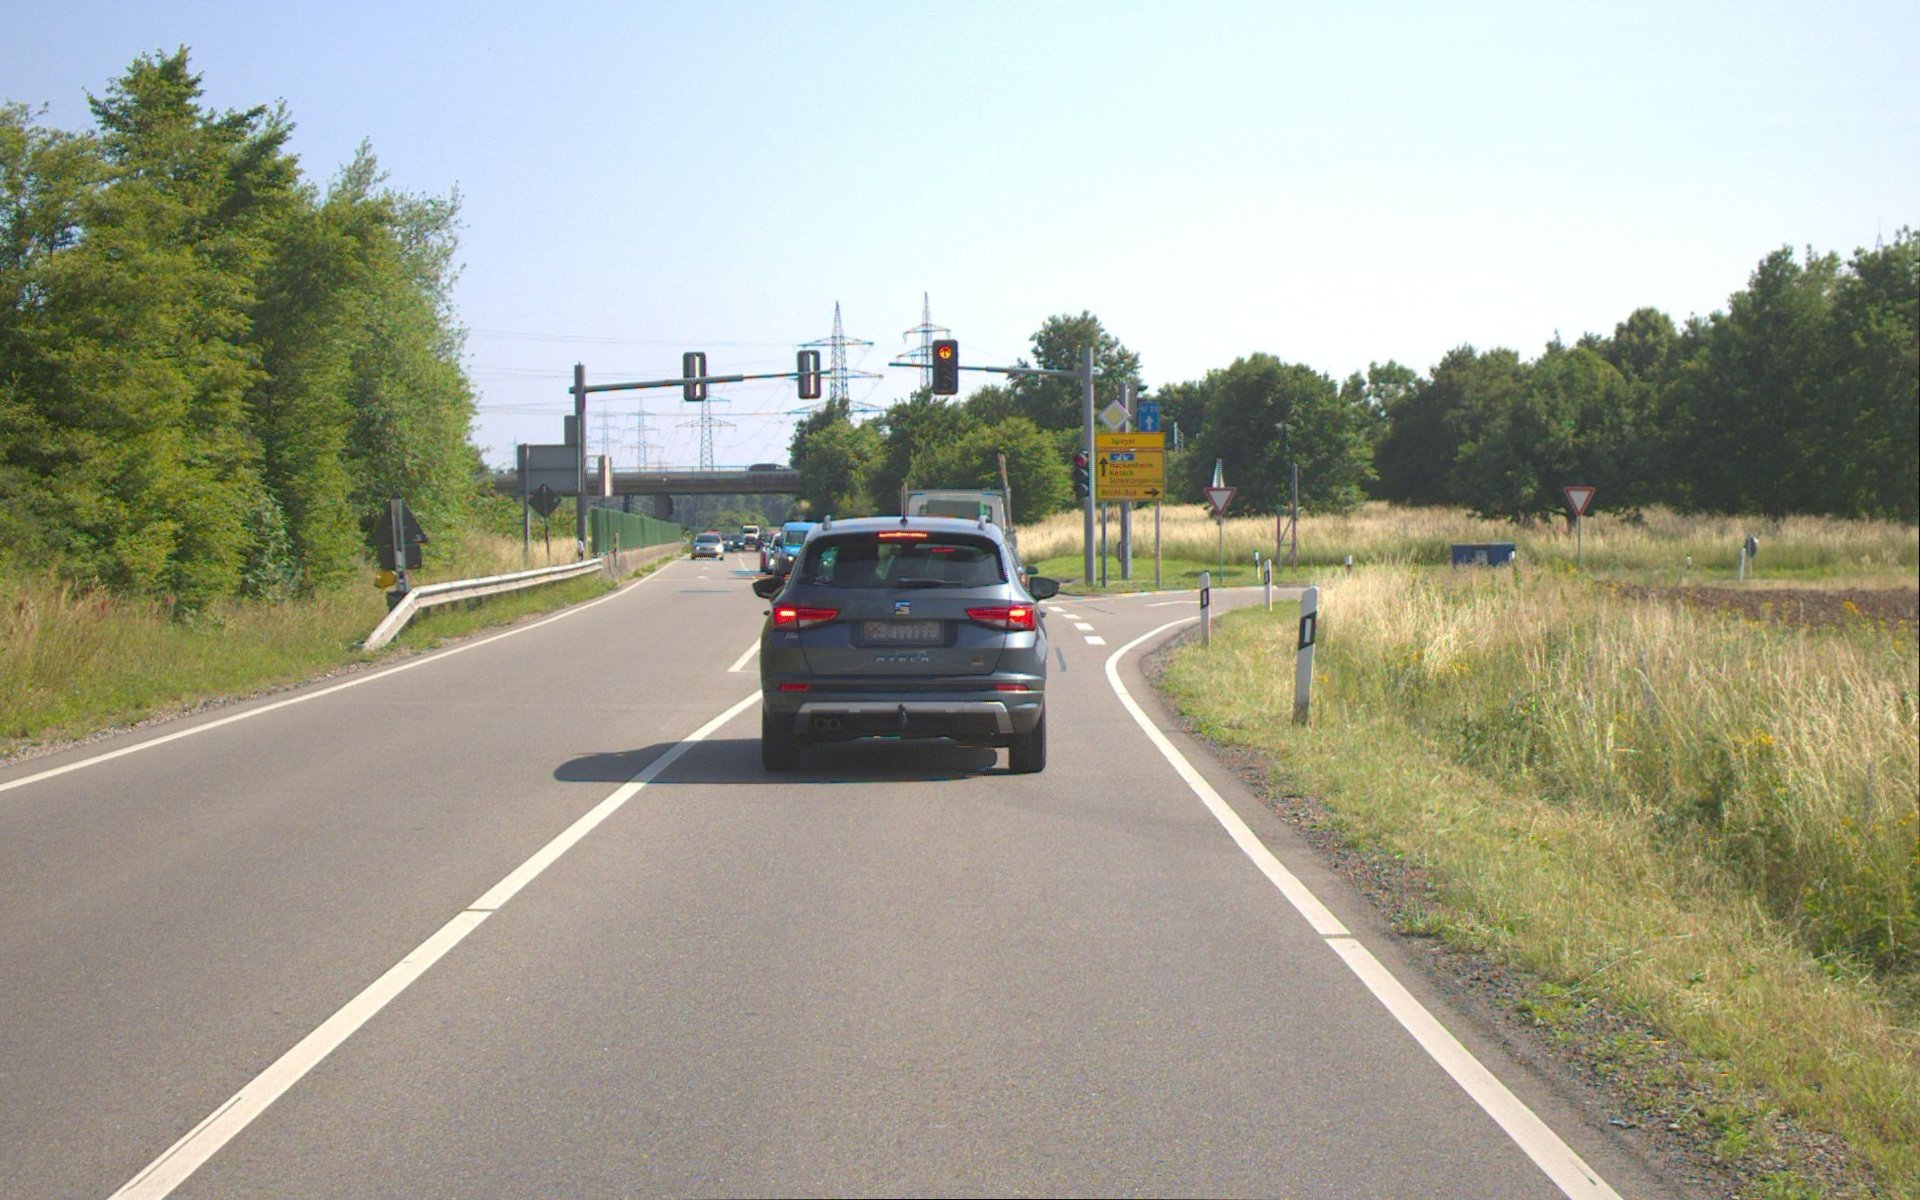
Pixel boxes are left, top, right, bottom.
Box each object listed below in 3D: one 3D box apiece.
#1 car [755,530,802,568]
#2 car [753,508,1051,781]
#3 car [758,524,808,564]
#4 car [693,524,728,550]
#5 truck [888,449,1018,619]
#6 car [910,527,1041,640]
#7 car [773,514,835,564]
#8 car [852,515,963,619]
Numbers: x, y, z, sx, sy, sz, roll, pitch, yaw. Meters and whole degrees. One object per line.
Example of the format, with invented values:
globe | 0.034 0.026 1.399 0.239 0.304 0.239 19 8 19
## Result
car | -6.768 -1.906 128.178 1.684 1.375 3.534 0 2 -4
car | -0.386 0.216 22.642 1.785 1.623 4.001 0 2 -1
car | -6.262 -2.000 121.606 1.684 1.375 3.534 0 2 -4
car | -13.705 -3.460 188.507 1.824 1.426 4.001 -1 1 -5
truck | -0.125 -1.229 65.130 2.337 3.055 5.810 0 1 0
car | 0.186 -0.274 49.726 1.785 1.538 4.001 0 2 -1
car | -4.967 -1.956 109.169 1.816 1.535 4.001 -1 1 -5
car | -0.889 -0.585 57.561 1.785 1.670 4.001 0 2 -1
